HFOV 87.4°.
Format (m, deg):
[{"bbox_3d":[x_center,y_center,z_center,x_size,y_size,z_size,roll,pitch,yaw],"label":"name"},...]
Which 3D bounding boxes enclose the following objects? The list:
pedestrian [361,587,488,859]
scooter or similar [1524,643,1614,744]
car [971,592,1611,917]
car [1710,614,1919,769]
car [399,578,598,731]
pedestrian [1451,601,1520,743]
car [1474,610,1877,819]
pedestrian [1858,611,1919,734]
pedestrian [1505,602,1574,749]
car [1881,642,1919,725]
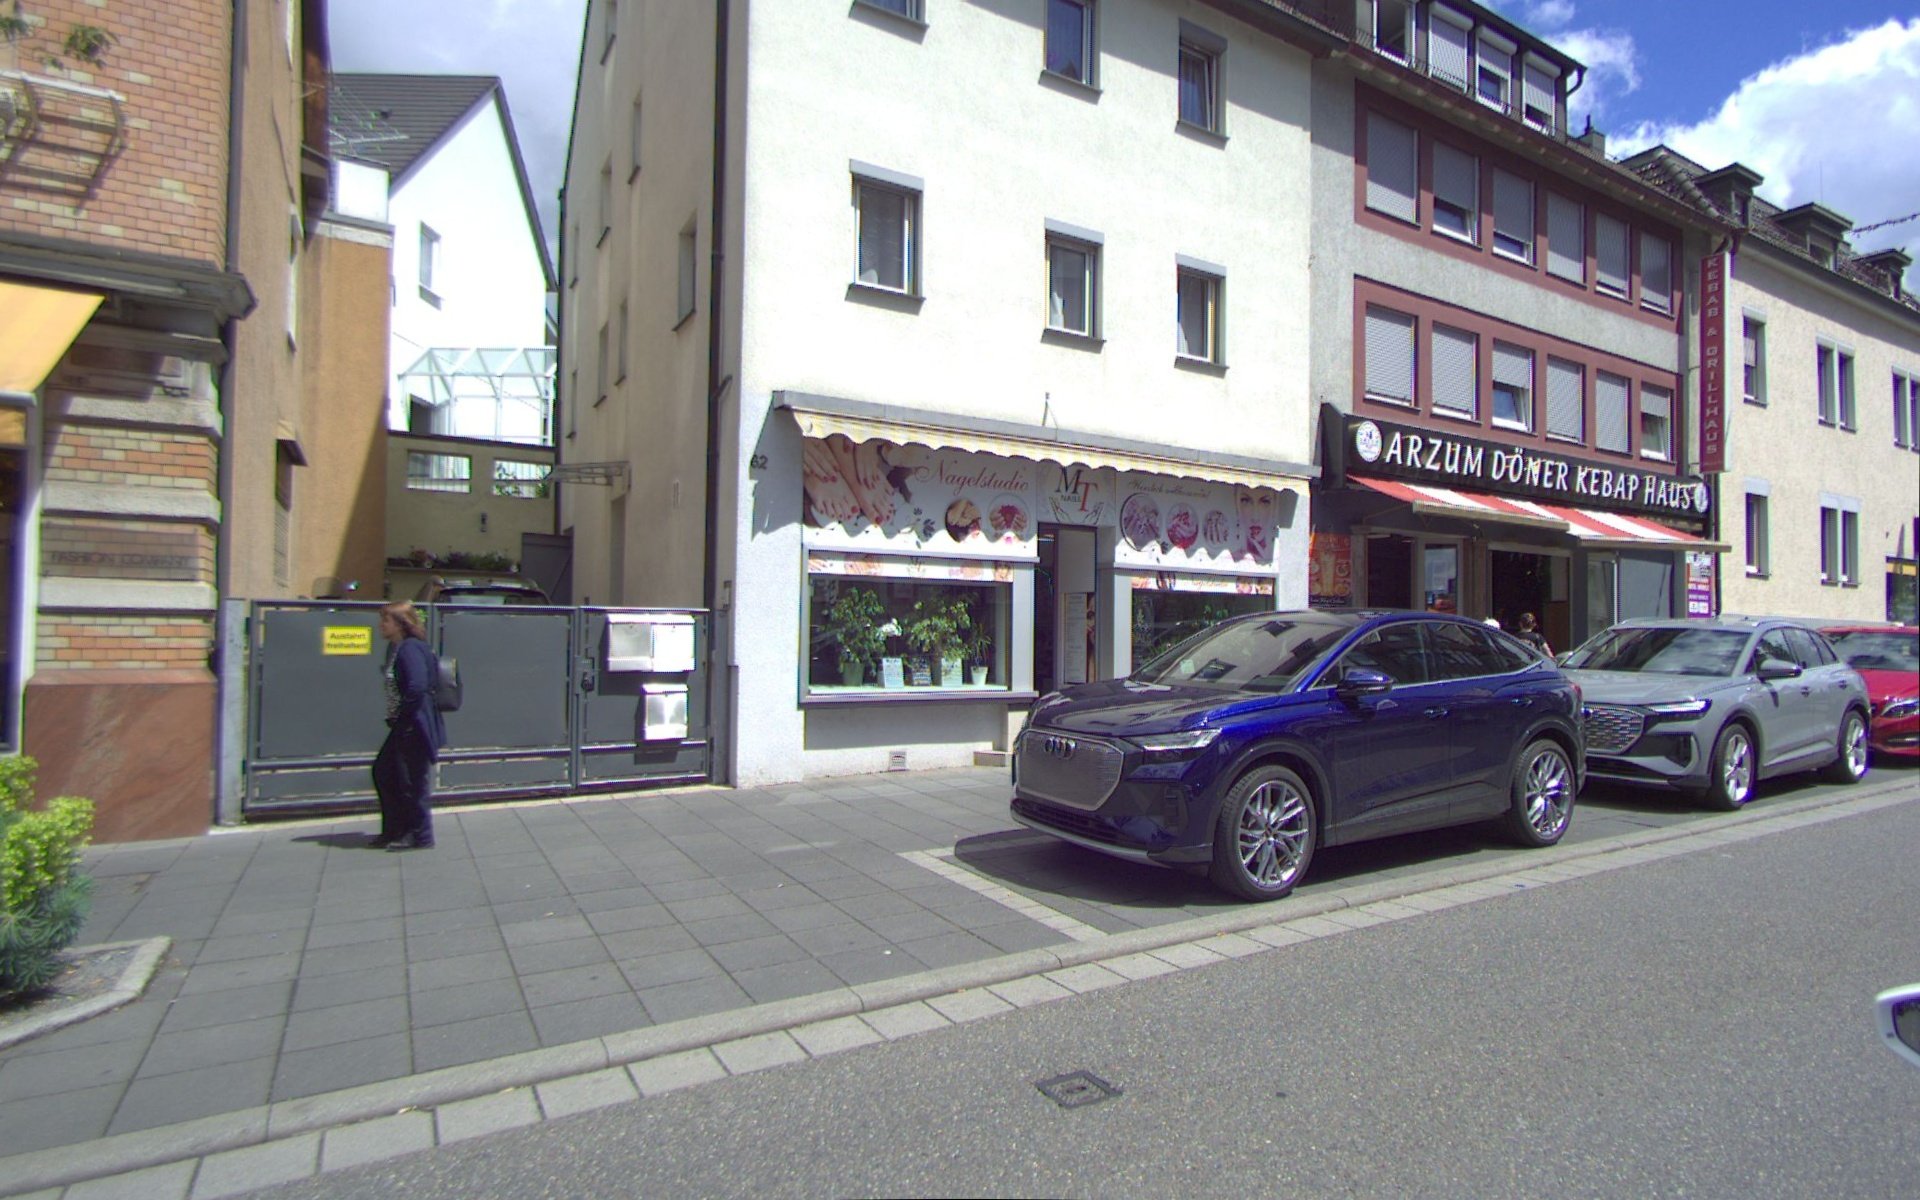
[{"bbox_3d":[-3.484,0.759,6.539,0.654,1.654,0.586,2,0,-30],"label":"pedestrian"},{"bbox_3d":[7.411,1.115,12.213,0.975,1.166,0.559,2,-1,-33],"label":"scooter or similar"},{"bbox_3d":[2.383,0.825,6.909,4.337,1.619,1.791,1,-1,-30],"label":"car"},{"bbox_3d":[11.227,1.024,12.434,4.173,1.625,1.789,1,-2,-33],"label":"car"},{"bbox_3d":[-6.162,0.616,13.155,1.977,1.661,3.968,2,-1,-30],"label":"car"},{"bbox_3d":[6.385,0.861,12.216,0.568,1.670,0.498,2,0,-33],"label":"pedestrian"},{"bbox_3d":[7.045,0.956,9.769,4.306,1.625,1.789,1,-2,-34],"label":"car"},{"bbox_3d":[13.355,1.011,14.251,0.769,1.670,0.683,2,-1,-28],"label":"pedestrian"},{"bbox_3d":[6.808,0.871,11.810,0.466,1.670,0.511,2,0,-32],"label":"pedestrian"},{"bbox_3d":[16.721,1.328,15.993,4.471,1.240,1.810,1,0,-31],"label":"car"}]
